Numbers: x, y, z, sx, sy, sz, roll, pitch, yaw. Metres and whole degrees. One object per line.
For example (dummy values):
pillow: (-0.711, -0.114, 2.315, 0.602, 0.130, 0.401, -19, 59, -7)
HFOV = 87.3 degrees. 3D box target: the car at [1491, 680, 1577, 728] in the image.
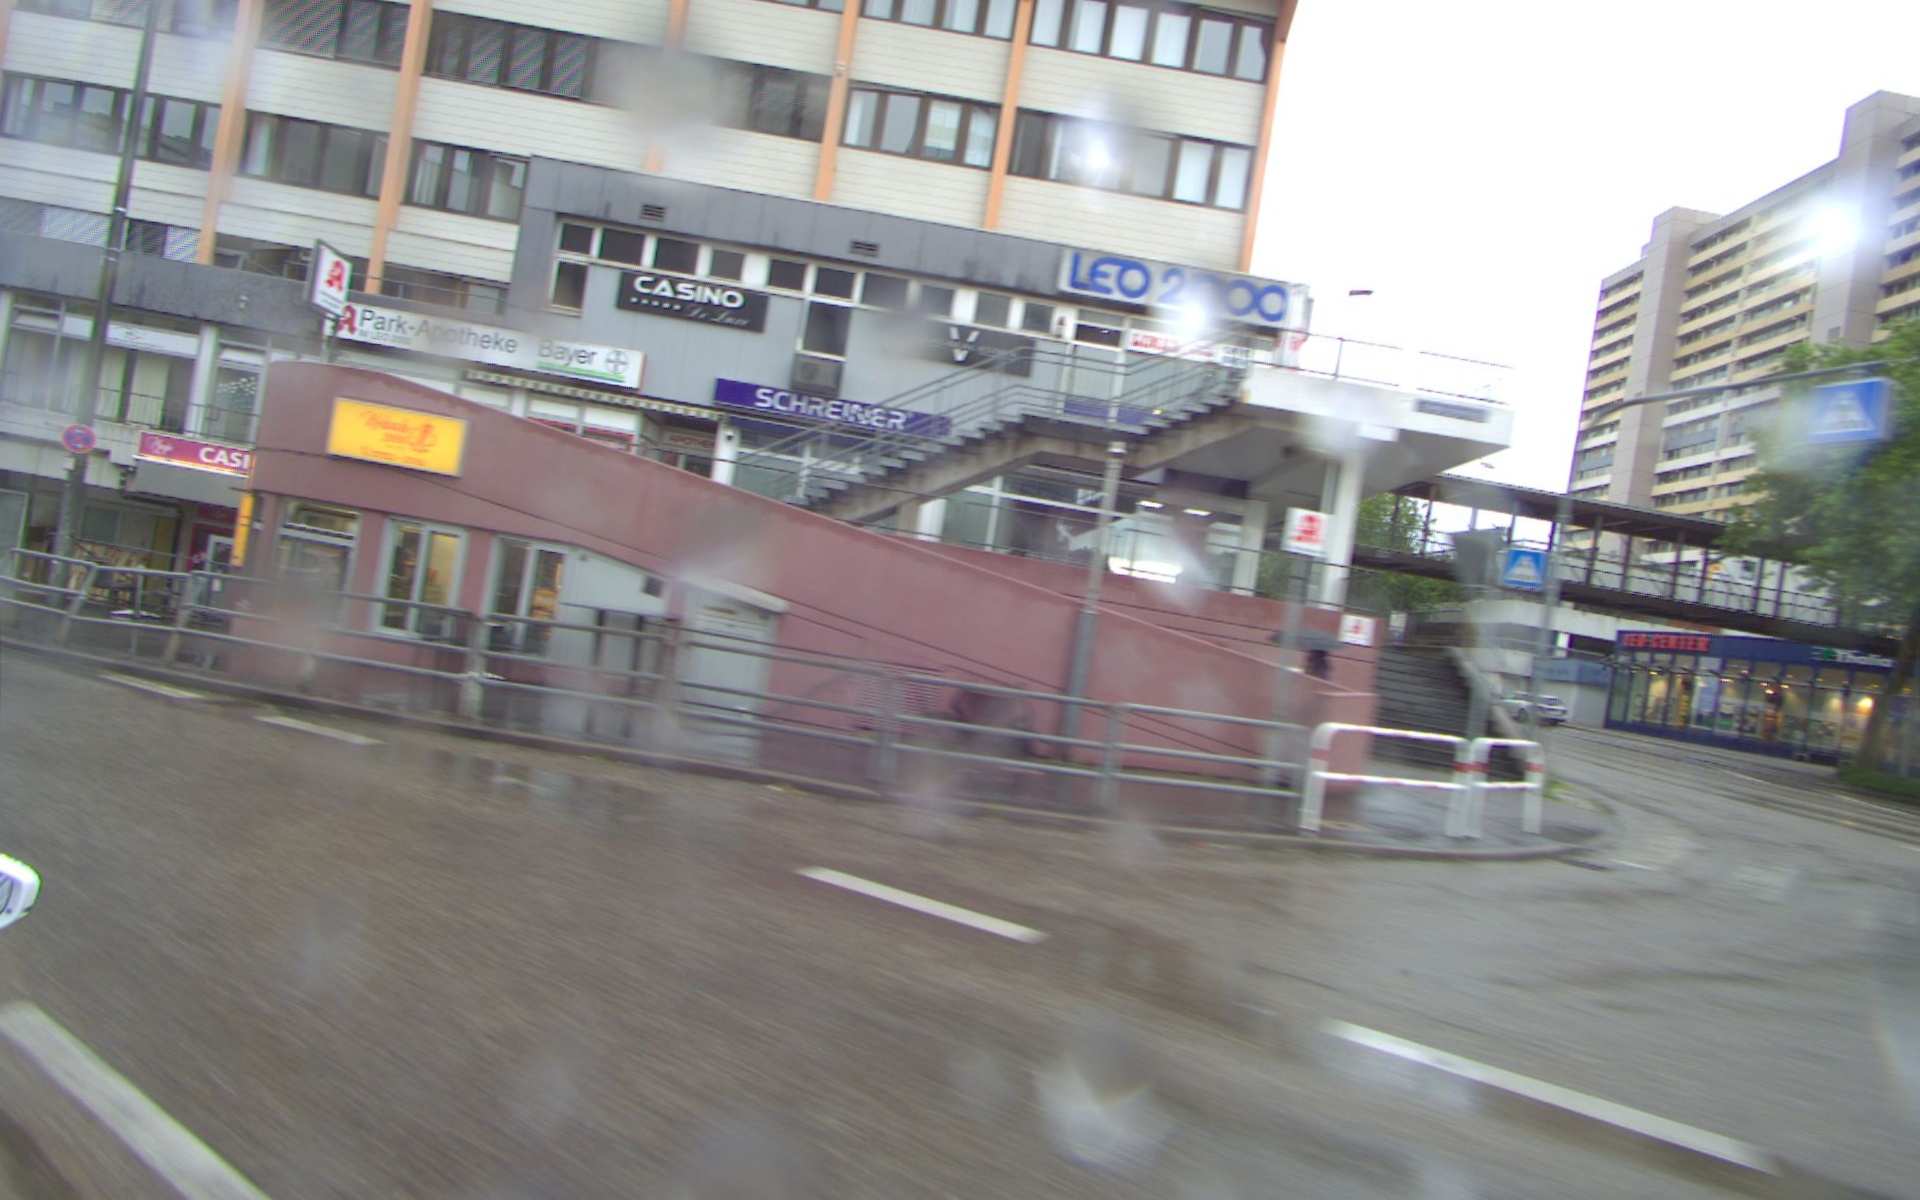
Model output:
car: (29.292, 5.259, 51.481, 1.803, 1.827, 4.000, 9, -1, -1)

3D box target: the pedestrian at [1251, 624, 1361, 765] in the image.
pedestrian: (4.610, 1.254, 13.404, 0.919, 1.688, 0.792, 8, -1, 45)
